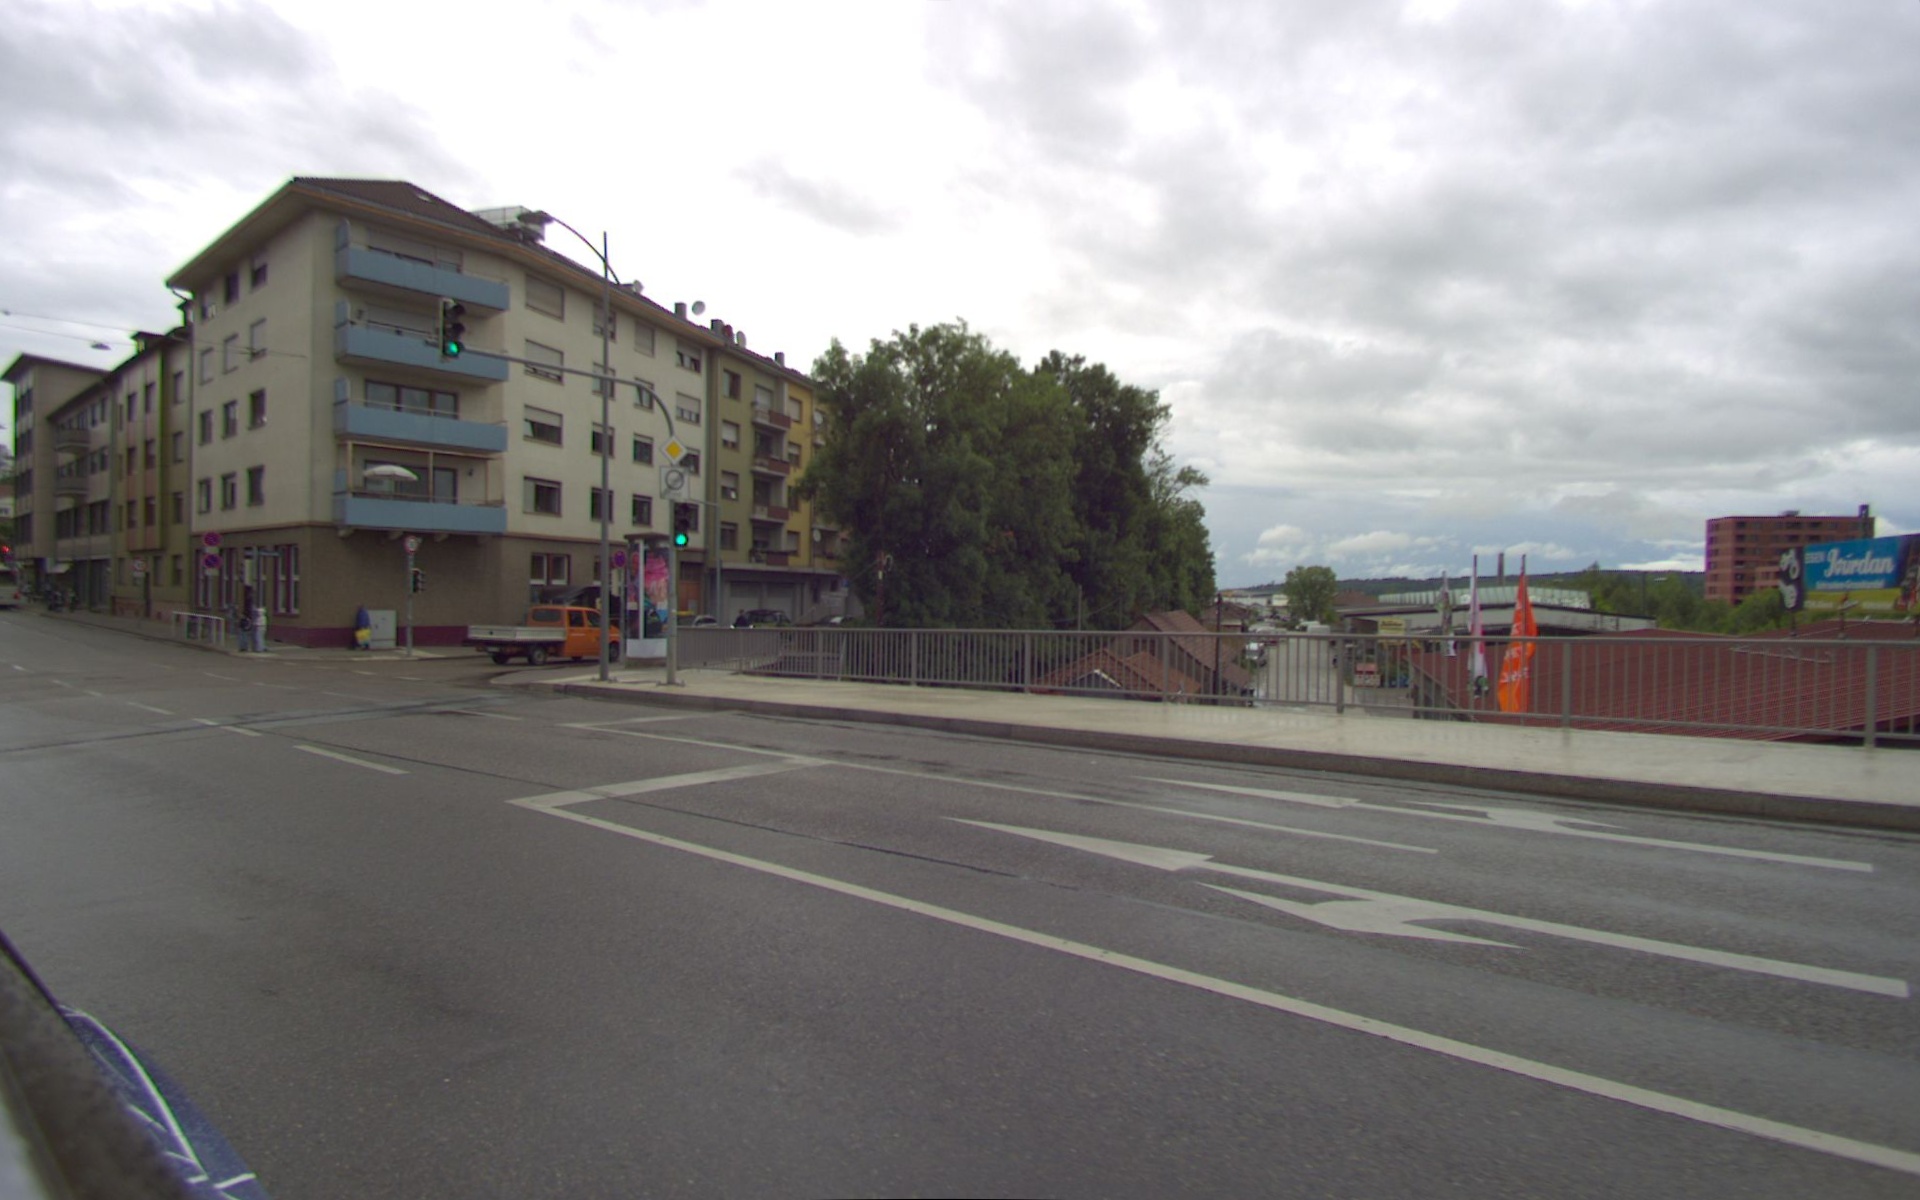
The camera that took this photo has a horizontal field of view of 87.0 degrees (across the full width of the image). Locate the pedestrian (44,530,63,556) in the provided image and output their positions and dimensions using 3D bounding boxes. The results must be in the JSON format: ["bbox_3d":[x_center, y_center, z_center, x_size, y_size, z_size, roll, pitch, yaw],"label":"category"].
[{"bbox_3d":[-56.478,-3.541,63.071,0.711,1.546,0.791,3,1,41],"label":"pedestrian"}]

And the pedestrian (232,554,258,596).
[{"bbox_3d":[-25.048,-0.879,35.459,0.649,1.398,0.539,4,7,43],"label":"pedestrian"}]

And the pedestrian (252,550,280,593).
[{"bbox_3d":[-24.283,-1.010,35.410,0.660,1.468,0.636,3,1,39],"label":"pedestrian"}]

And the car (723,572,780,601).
[{"bbox_3d":[-11.361,-0.735,55.300,1.849,1.510,3.693,2,1,9],"label":"car"}]

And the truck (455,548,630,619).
[{"bbox_3d":[-13.961,-0.534,34.253,2.393,2.145,5.272,3,1,24],"label":"truck"}]

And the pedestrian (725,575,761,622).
[{"bbox_3d":[-8.447,-0.052,39.493,1.050,1.770,1.070,2,1,6],"label":"pedestrian"}]

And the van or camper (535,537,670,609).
[{"bbox_3d":[-14.812,-1.075,42.444,1.982,2.750,6.451,2,1,15],"label":"van or camper"}]

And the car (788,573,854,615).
[{"bbox_3d":[-7.314,-0.321,53.632,1.982,2.029,3.980,2,1,16],"label":"car"}]

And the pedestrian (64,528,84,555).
[{"bbox_3d":[-55.531,-3.650,63.445,0.711,1.627,0.828,3,1,41],"label":"pedestrian"}]

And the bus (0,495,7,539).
[{"bbox_3d":[-74.722,-6.337,76.673,8.908,3.212,2.730,3,1,41],"label":"bus"}]

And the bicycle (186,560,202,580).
[{"bbox_3d":[-31.046,-1.222,41.013,1.111,0.789,0.261,3,1,41],"label":"bicycle"}]

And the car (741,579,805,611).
[{"bbox_3d":[-9.664,-0.263,52.584,1.807,1.528,3.983,2,1,13],"label":"car"}]

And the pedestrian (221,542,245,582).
[{"bbox_3d":[-29.251,-1.532,40.703,0.739,1.565,0.569,3,1,38],"label":"pedestrian"}]

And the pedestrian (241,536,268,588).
[{"bbox_3d":[-29.373,-1.581,42.151,0.729,2.115,0.705,3,1,38],"label":"pedestrian"}]

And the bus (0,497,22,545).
[{"bbox_3d":[-68.746,-5.564,71.464,9.289,3.212,2.697,3,1,41],"label":"bus"}]
